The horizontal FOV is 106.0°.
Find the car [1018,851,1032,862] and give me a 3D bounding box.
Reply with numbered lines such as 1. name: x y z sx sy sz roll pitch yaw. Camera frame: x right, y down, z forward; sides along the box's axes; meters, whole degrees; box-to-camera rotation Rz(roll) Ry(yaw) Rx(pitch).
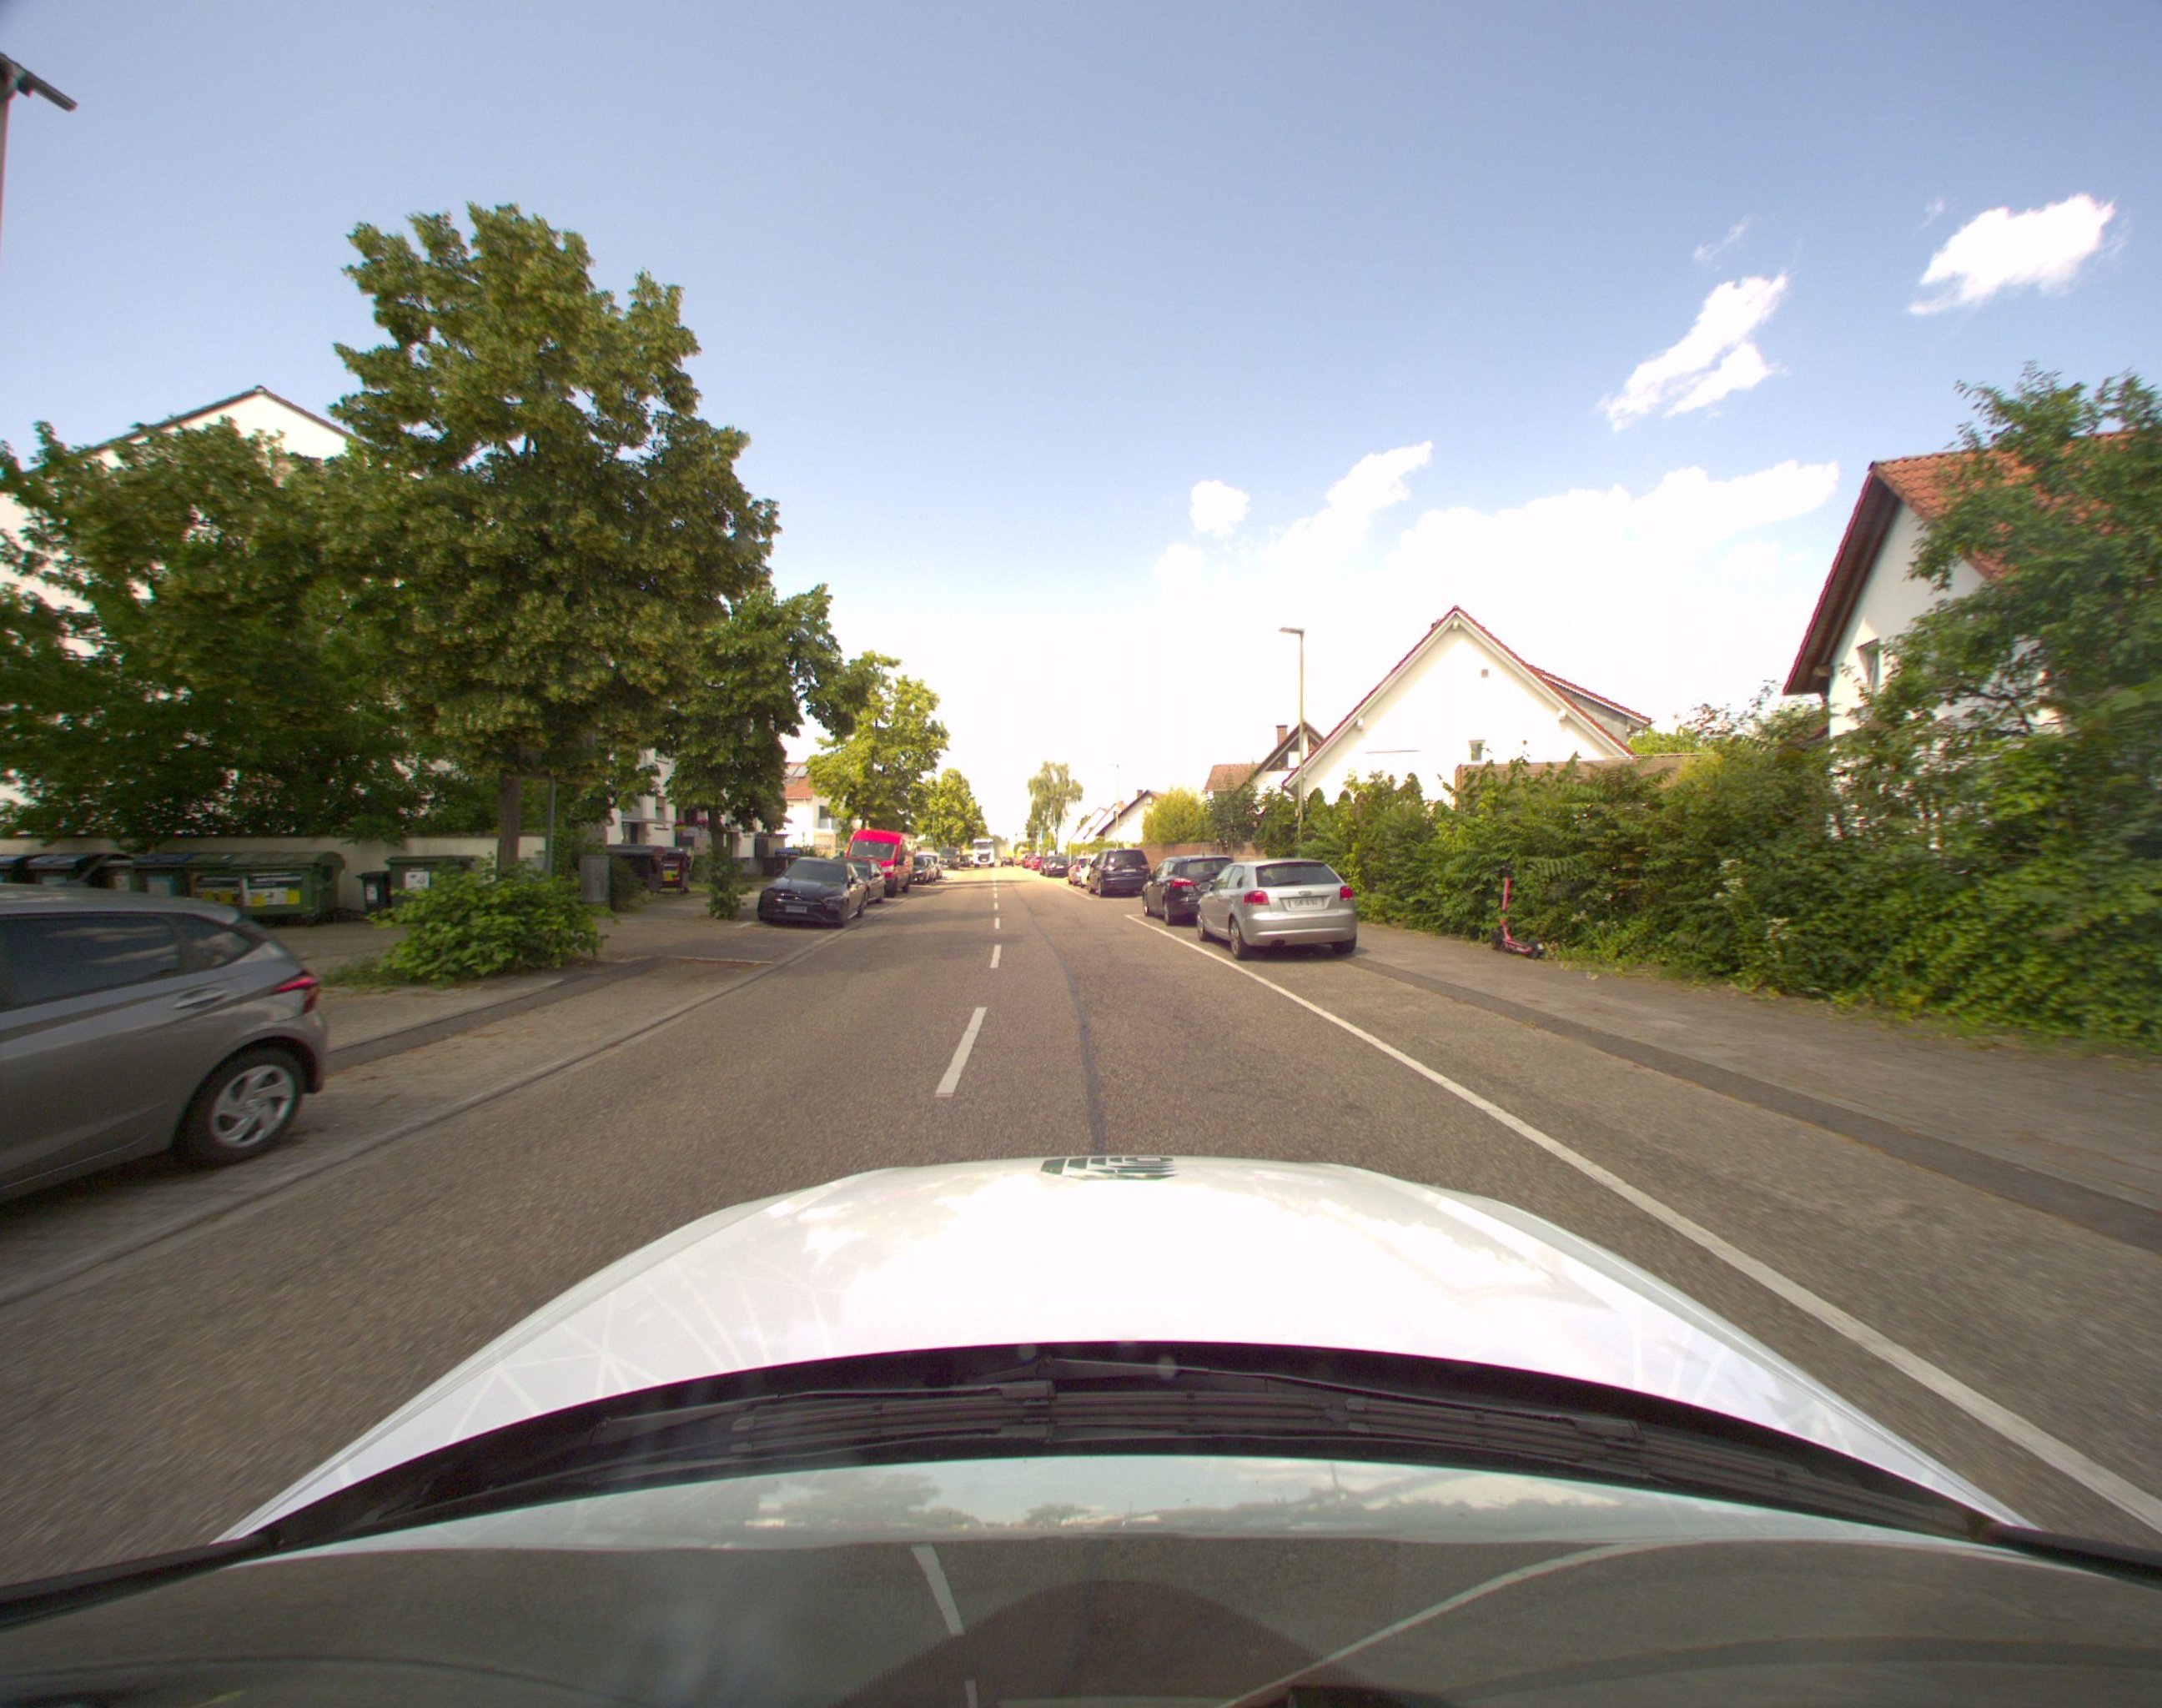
1. car: -8.535 0.345 123.077 1.793 1.523 4.520 -1 0 -7

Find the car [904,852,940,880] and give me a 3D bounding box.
1. car: -9.460 0.689 48.625 1.786 1.457 4.423 3 0 -8

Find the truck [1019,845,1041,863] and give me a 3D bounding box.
1. truck: -6.776 -0.053 106.906 2.565 2.260 6.520 -1 0 -6

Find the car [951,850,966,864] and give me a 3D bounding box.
1. car: -15.605 0.398 103.835 1.786 1.601 4.423 3 0 -8

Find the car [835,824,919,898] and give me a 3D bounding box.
1. car: -7.801 0.230 31.797 2.060 2.500 5.832 3 0 -4

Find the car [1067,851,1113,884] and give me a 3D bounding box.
1. car: 0.386 0.639 41.257 1.793 1.523 3.963 -1 0 -8

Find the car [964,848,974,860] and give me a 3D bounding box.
1. car: -21.190 -0.022 154.026 1.786 2.251 4.759 -2 0 -8

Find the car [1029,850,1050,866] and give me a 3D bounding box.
1. car: -4.159 0.405 81.604 1.793 1.523 4.521 -1 0 -6

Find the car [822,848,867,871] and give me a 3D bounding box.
1. car: -16.456 0.367 56.854 1.781 1.457 4.434 3 0 0

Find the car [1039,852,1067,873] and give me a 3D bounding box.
1. car: -2.203 0.641 62.927 1.793 1.523 3.964 -1 0 -7

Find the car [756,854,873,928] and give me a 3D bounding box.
1. car: -6.118 0.784 19.202 1.786 1.457 4.423 3 0 -8

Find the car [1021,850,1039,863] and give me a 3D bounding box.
1. car: -6.046 0.277 96.210 1.793 1.523 4.521 -1 0 -6

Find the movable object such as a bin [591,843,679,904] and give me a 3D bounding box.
1. movable object such as a bin: -11.728 0.486 21.511 1.352 1.504 1.824 -1 0 -4

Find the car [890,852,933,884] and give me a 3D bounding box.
1. car: -8.747 0.699 42.356 1.786 1.457 4.423 3 0 -8

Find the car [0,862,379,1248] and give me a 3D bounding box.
1. car: -5.204 0.829 2.841 1.755 1.489 4.342 1 1 -1

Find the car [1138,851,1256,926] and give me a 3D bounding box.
1. car: 2.521 0.689 18.775 1.734 1.509 4.468 -1 0 -5

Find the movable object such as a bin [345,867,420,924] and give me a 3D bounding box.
1. movable object such as a bin: -13.915 0.814 16.244 0.621 1.024 0.880 -1 4 6

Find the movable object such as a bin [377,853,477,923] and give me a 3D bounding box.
1. movable object such as a bin: -12.937 0.656 16.153 1.186 1.274 0.880 -1 4 6

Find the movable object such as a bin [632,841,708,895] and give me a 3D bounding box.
1. movable object such as a bin: -12.180 0.387 24.226 1.352 1.504 1.824 -1 0 -4

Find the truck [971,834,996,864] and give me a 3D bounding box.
1. truck: -12.326 -0.602 103.665 2.859 3.512 12.330 -1 0 -6

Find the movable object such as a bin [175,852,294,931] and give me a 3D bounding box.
1. movable object such as a bin: -16.861 0.726 16.256 1.241 1.437 0.929 -2 3 -3

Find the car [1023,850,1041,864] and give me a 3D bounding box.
1. car: -5.525 0.315 91.656 1.793 1.523 4.521 -1 0 -6

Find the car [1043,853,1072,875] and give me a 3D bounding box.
1. car: -1.732 0.672 58.501 1.793 1.523 3.964 -1 0 -7

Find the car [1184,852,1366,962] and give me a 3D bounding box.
1. car: 2.906 0.709 13.195 1.733 1.457 4.361 -1 0 -3

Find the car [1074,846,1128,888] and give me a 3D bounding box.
1. car: 0.853 0.541 36.855 1.794 1.748 3.962 -1 0 -9

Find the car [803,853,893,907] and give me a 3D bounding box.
1. car: -7.195 0.753 25.587 1.784 1.457 4.428 3 0 -4

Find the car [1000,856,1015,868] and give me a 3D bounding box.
1. car: -10.204 1.103 112.955 1.793 1.523 4.520 -1 0 -7

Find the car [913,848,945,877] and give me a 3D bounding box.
1. car: -10.189 0.557 54.805 1.786 1.746 4.423 3 0 -8

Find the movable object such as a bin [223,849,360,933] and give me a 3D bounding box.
1. movable object such as a bin: -15.180 0.672 15.728 1.194 1.437 1.369 -2 4 -6

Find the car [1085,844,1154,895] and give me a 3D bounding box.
1. car: 1.352 0.519 30.403 1.793 1.748 4.572 -1 0 -7

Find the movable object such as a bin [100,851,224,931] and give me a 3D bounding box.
1. movable object such as a bin: -18.179 0.714 16.150 1.241 1.437 0.929 -2 3 -3

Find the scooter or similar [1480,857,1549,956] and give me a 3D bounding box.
1. scooter or similar: 5.870 0.674 11.082 0.212 1.252 1.242 0 0 -3

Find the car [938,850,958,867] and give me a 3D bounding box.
1. car: -13.499 0.455 82.721 1.786 1.601 4.423 3 0 -8
